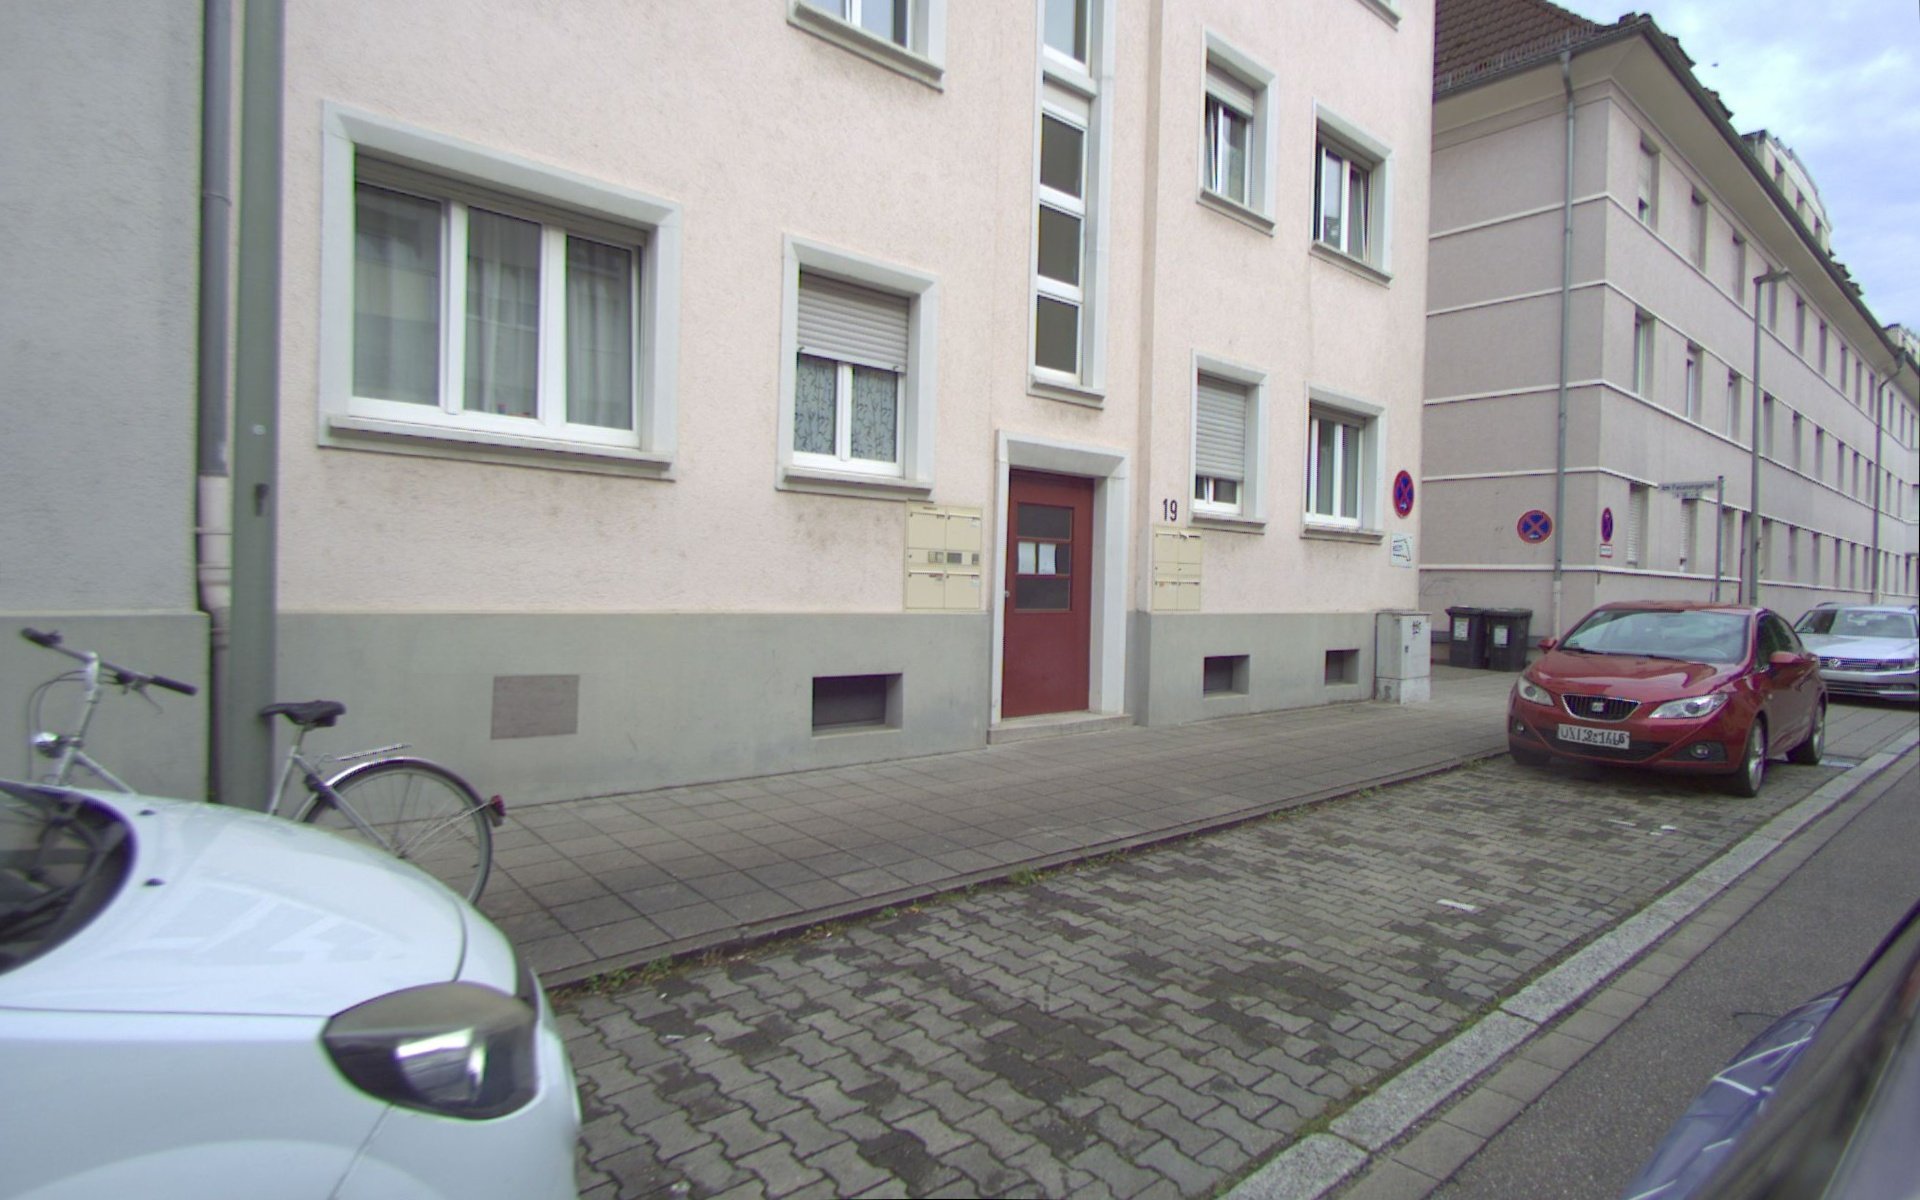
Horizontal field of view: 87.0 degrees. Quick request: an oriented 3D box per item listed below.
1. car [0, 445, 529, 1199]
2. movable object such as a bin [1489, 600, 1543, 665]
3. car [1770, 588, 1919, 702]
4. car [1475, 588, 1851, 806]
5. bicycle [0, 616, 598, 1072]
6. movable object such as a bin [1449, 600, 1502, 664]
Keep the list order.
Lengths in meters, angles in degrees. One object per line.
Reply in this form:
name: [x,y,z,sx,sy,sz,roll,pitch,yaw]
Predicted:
car: [-2.566,0.624,0.798,3.737,1.619,1.787,0,1,-40]
movable object such as a bin: [9.388,0.538,17.090,0.692,1.055,0.550,1,1,-38]
car: [13.816,0.606,15.264,3.969,1.482,1.791,1,1,-41]
car: [6.180,0.651,8.737,3.867,1.427,1.757,0,1,-41]
bicycle: [-2.306,0.649,3.220,2.088,1.154,0.606,0,1,-42]
movable object such as a bin: [8.885,0.534,17.435,0.692,1.055,0.550,1,1,-38]
